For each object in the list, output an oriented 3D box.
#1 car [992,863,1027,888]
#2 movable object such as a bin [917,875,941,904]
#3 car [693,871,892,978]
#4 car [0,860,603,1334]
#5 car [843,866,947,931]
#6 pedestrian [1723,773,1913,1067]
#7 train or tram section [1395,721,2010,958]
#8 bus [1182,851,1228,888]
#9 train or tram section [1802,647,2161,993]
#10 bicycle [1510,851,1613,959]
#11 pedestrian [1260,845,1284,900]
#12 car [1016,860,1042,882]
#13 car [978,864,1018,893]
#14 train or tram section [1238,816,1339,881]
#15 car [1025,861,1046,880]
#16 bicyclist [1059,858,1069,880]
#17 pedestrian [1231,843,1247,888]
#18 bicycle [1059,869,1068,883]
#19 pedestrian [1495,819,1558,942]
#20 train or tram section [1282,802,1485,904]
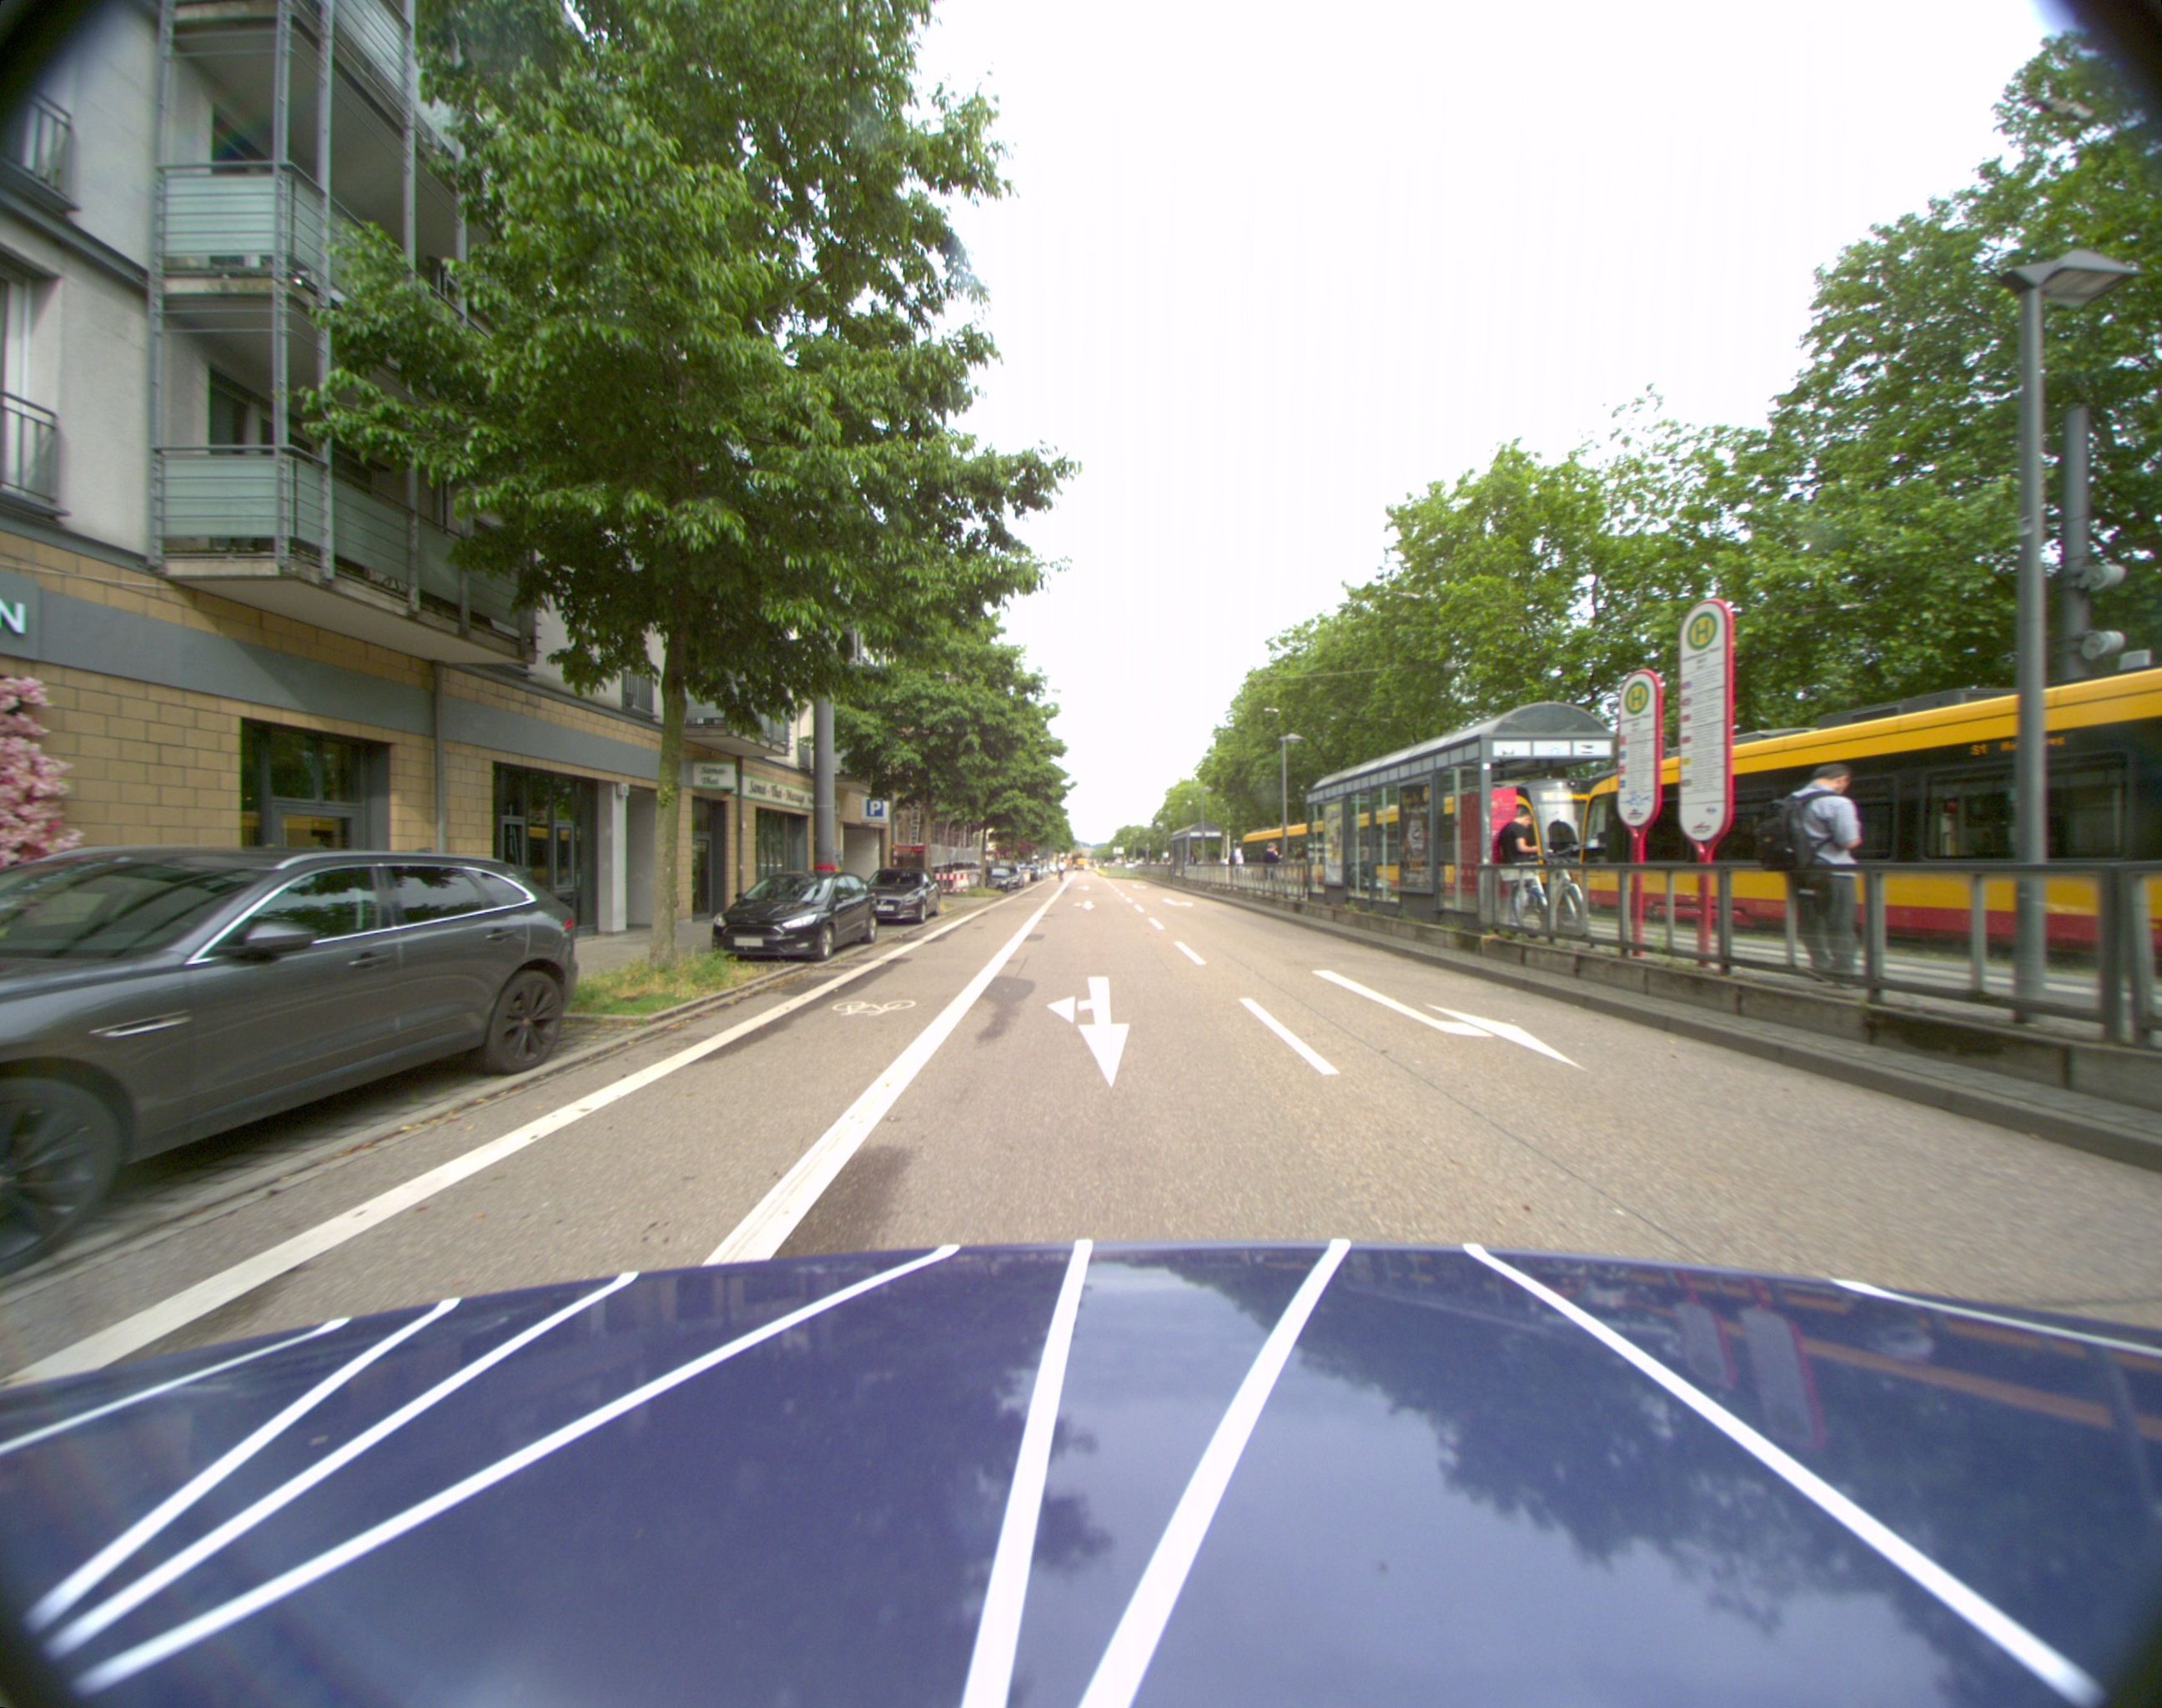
[{"bbox_3d":[-4.518,1.312,48.377,1.755,1.452,4.280,1,0,0],"label":"car"},{"bbox_3d":[-5.585,1.300,27.923,0.764,1.048,0.541,1,0,0],"label":"movable object such as a bin"},{"bbox_3d":[-4.826,1.093,13.456,1.680,1.433,4.408,2,0,2],"label":"car"},{"bbox_3d":[-4.930,0.930,4.114,1.716,1.707,4.711,2,0,-1],"label":"car"},{"bbox_3d":[-4.916,1.124,20.694,1.802,1.447,4.388,2,0,-1],"label":"car"},{"bbox_3d":[5.467,0.458,5.703,0.753,2.002,0.819,-1,0,23],"label":"pedestrian"},{"bbox_3d":[12.619,-0.194,19.194,3.067,3.511,15.295,-2,0,1],"label":"train or tram section"},{"bbox_3d":[7.111,0.854,43.980,1.998,2.002,4.000,-2,0,0],"label":"bus"},{"bbox_3d":[12.449,-0.392,3.880,3.067,3.511,15.295,-2,0,1],"label":"train or tram section"},{"bbox_3d":[5.824,0.581,9.274,0.420,1.215,1.290,-2,0,0],"label":"bicycle"},{"bbox_3d":[5.688,0.544,22.636,0.513,1.623,0.730,-2,0,2],"label":"pedestrian"},{"bbox_3d":[-4.396,1.429,64.859,1.837,1.720,4.280,1,0,0],"label":"car"},{"bbox_3d":[-4.597,1.325,42.619,1.755,1.452,4.280,1,0,0],"label":"car"},{"bbox_3d":[12.933,-0.307,48.873,3.100,3.541,12.539,-2,0,1],"label":"train or tram section"},{"bbox_3d":[-4.413,1.582,74.151,1.837,1.685,3.762,1,0,0],"label":"car"},{"bbox_3d":[-1.417,1.227,62.377,0.751,1.776,0.838,-2,0,1],"label":"bicyclist"},{"bbox_3d":[5.695,0.414,27.366,0.480,1.623,0.392,-2,0,2],"label":"pedestrian"},{"bbox_3d":[-1.420,1.768,61.718,0.613,1.116,2.050,-2,0,1],"label":"bicycle"},{"bbox_3d":[6.030,0.353,10.292,0.532,1.623,0.471,-2,0,-2],"label":"pedestrian"},{"bbox_3d":[12.771,-0.025,34.720,3.067,3.511,15.772,-2,0,1],"label":"train or tram section"}]
